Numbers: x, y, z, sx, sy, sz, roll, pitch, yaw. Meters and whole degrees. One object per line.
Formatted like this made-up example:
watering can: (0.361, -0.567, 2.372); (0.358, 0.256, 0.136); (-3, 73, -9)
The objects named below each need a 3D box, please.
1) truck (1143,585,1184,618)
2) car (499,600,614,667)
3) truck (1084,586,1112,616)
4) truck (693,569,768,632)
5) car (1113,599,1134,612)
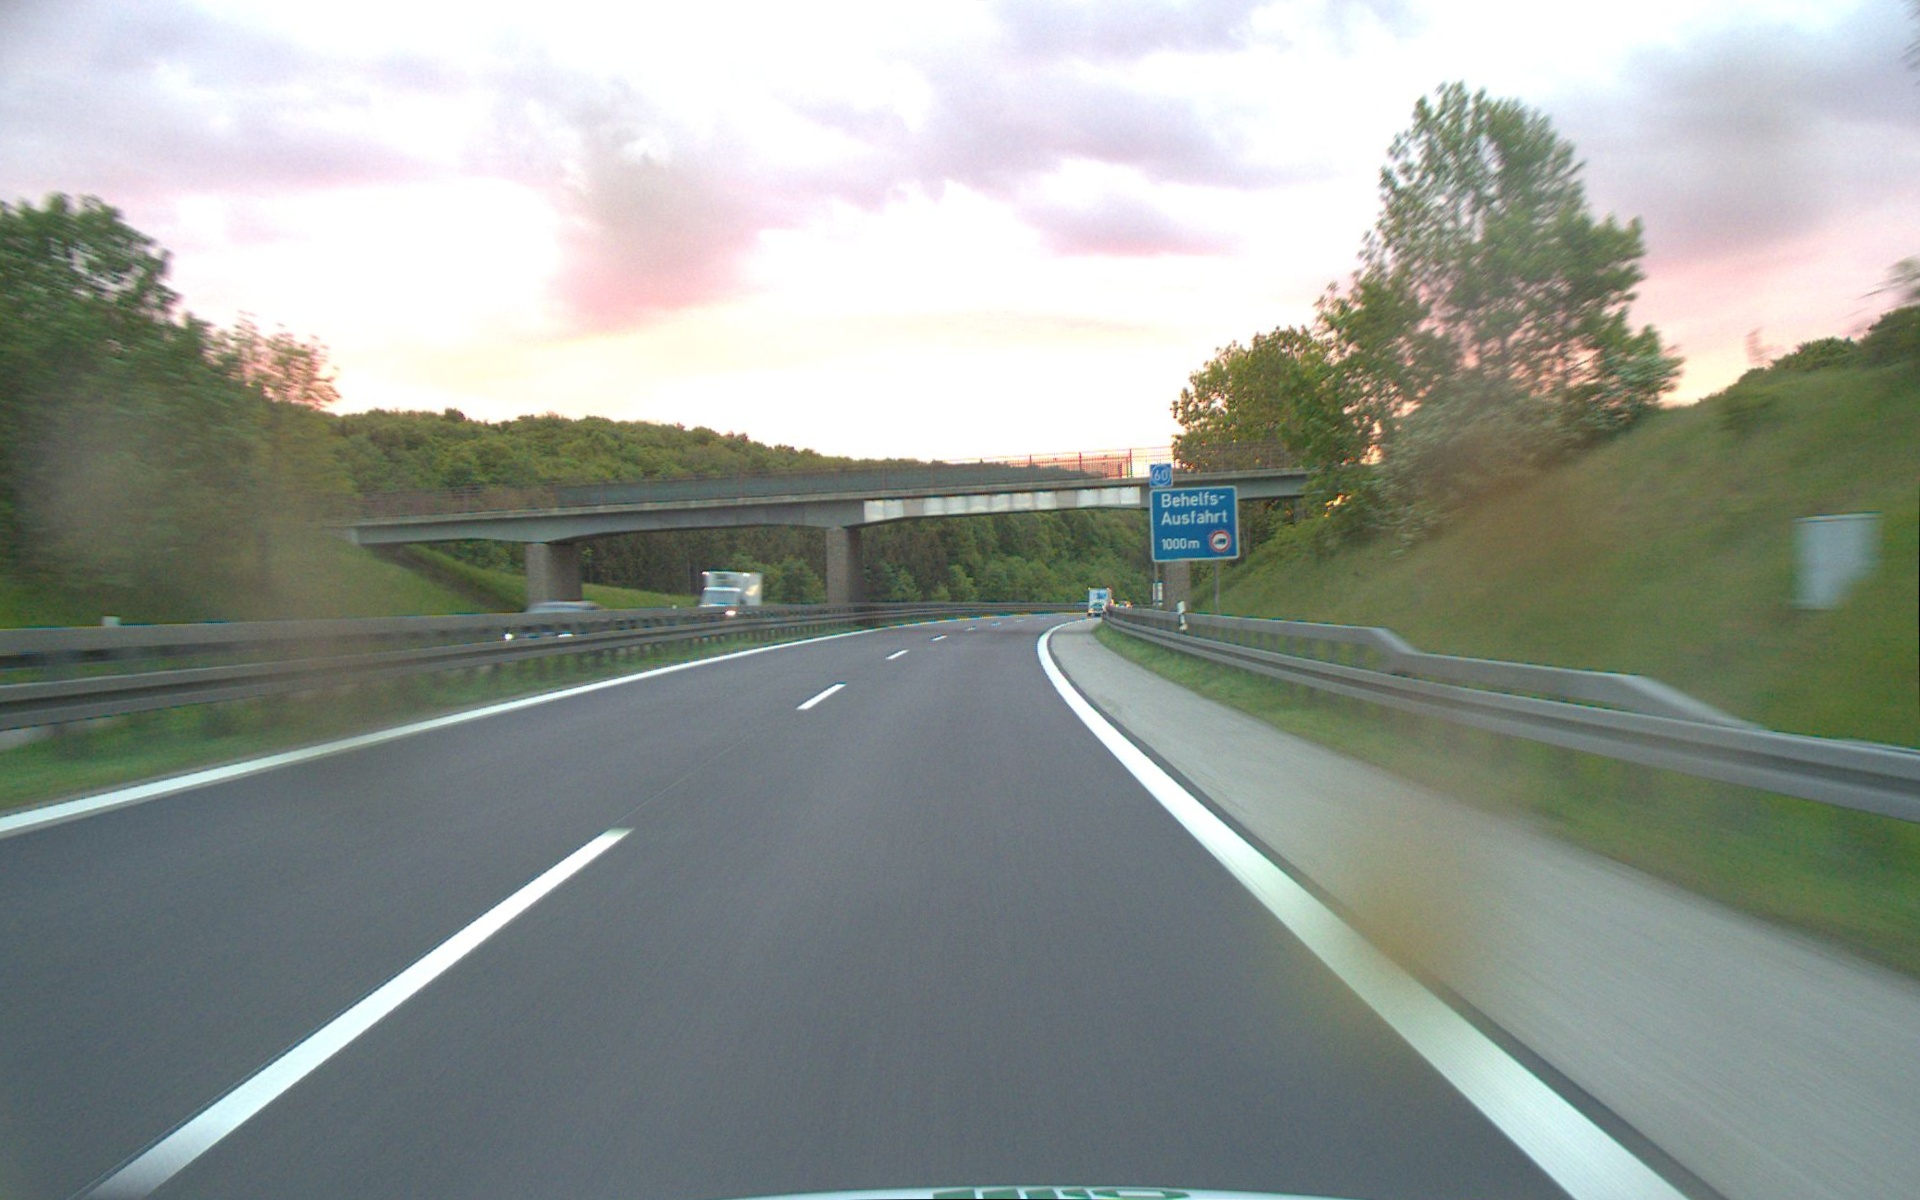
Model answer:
truck: (27.549, 0.159, 222.905); (3.873, 4.362, 14.335); (-1, 0, 13)
car: (-11.210, 0.885, 46.253); (1.738, 1.744, 4.640); (0, 0, 4)
truck: (13.369, 0.079, 160.009); (2.227, 2.711, 5.241); (-1, 1, 10)
truck: (-12.108, 0.027, 87.724); (2.557, 3.164, 6.672); (1, 0, 4)
car: (21.088, 0.696, 212.776); (1.951, 1.544, 4.003); (0, 0, 16)
